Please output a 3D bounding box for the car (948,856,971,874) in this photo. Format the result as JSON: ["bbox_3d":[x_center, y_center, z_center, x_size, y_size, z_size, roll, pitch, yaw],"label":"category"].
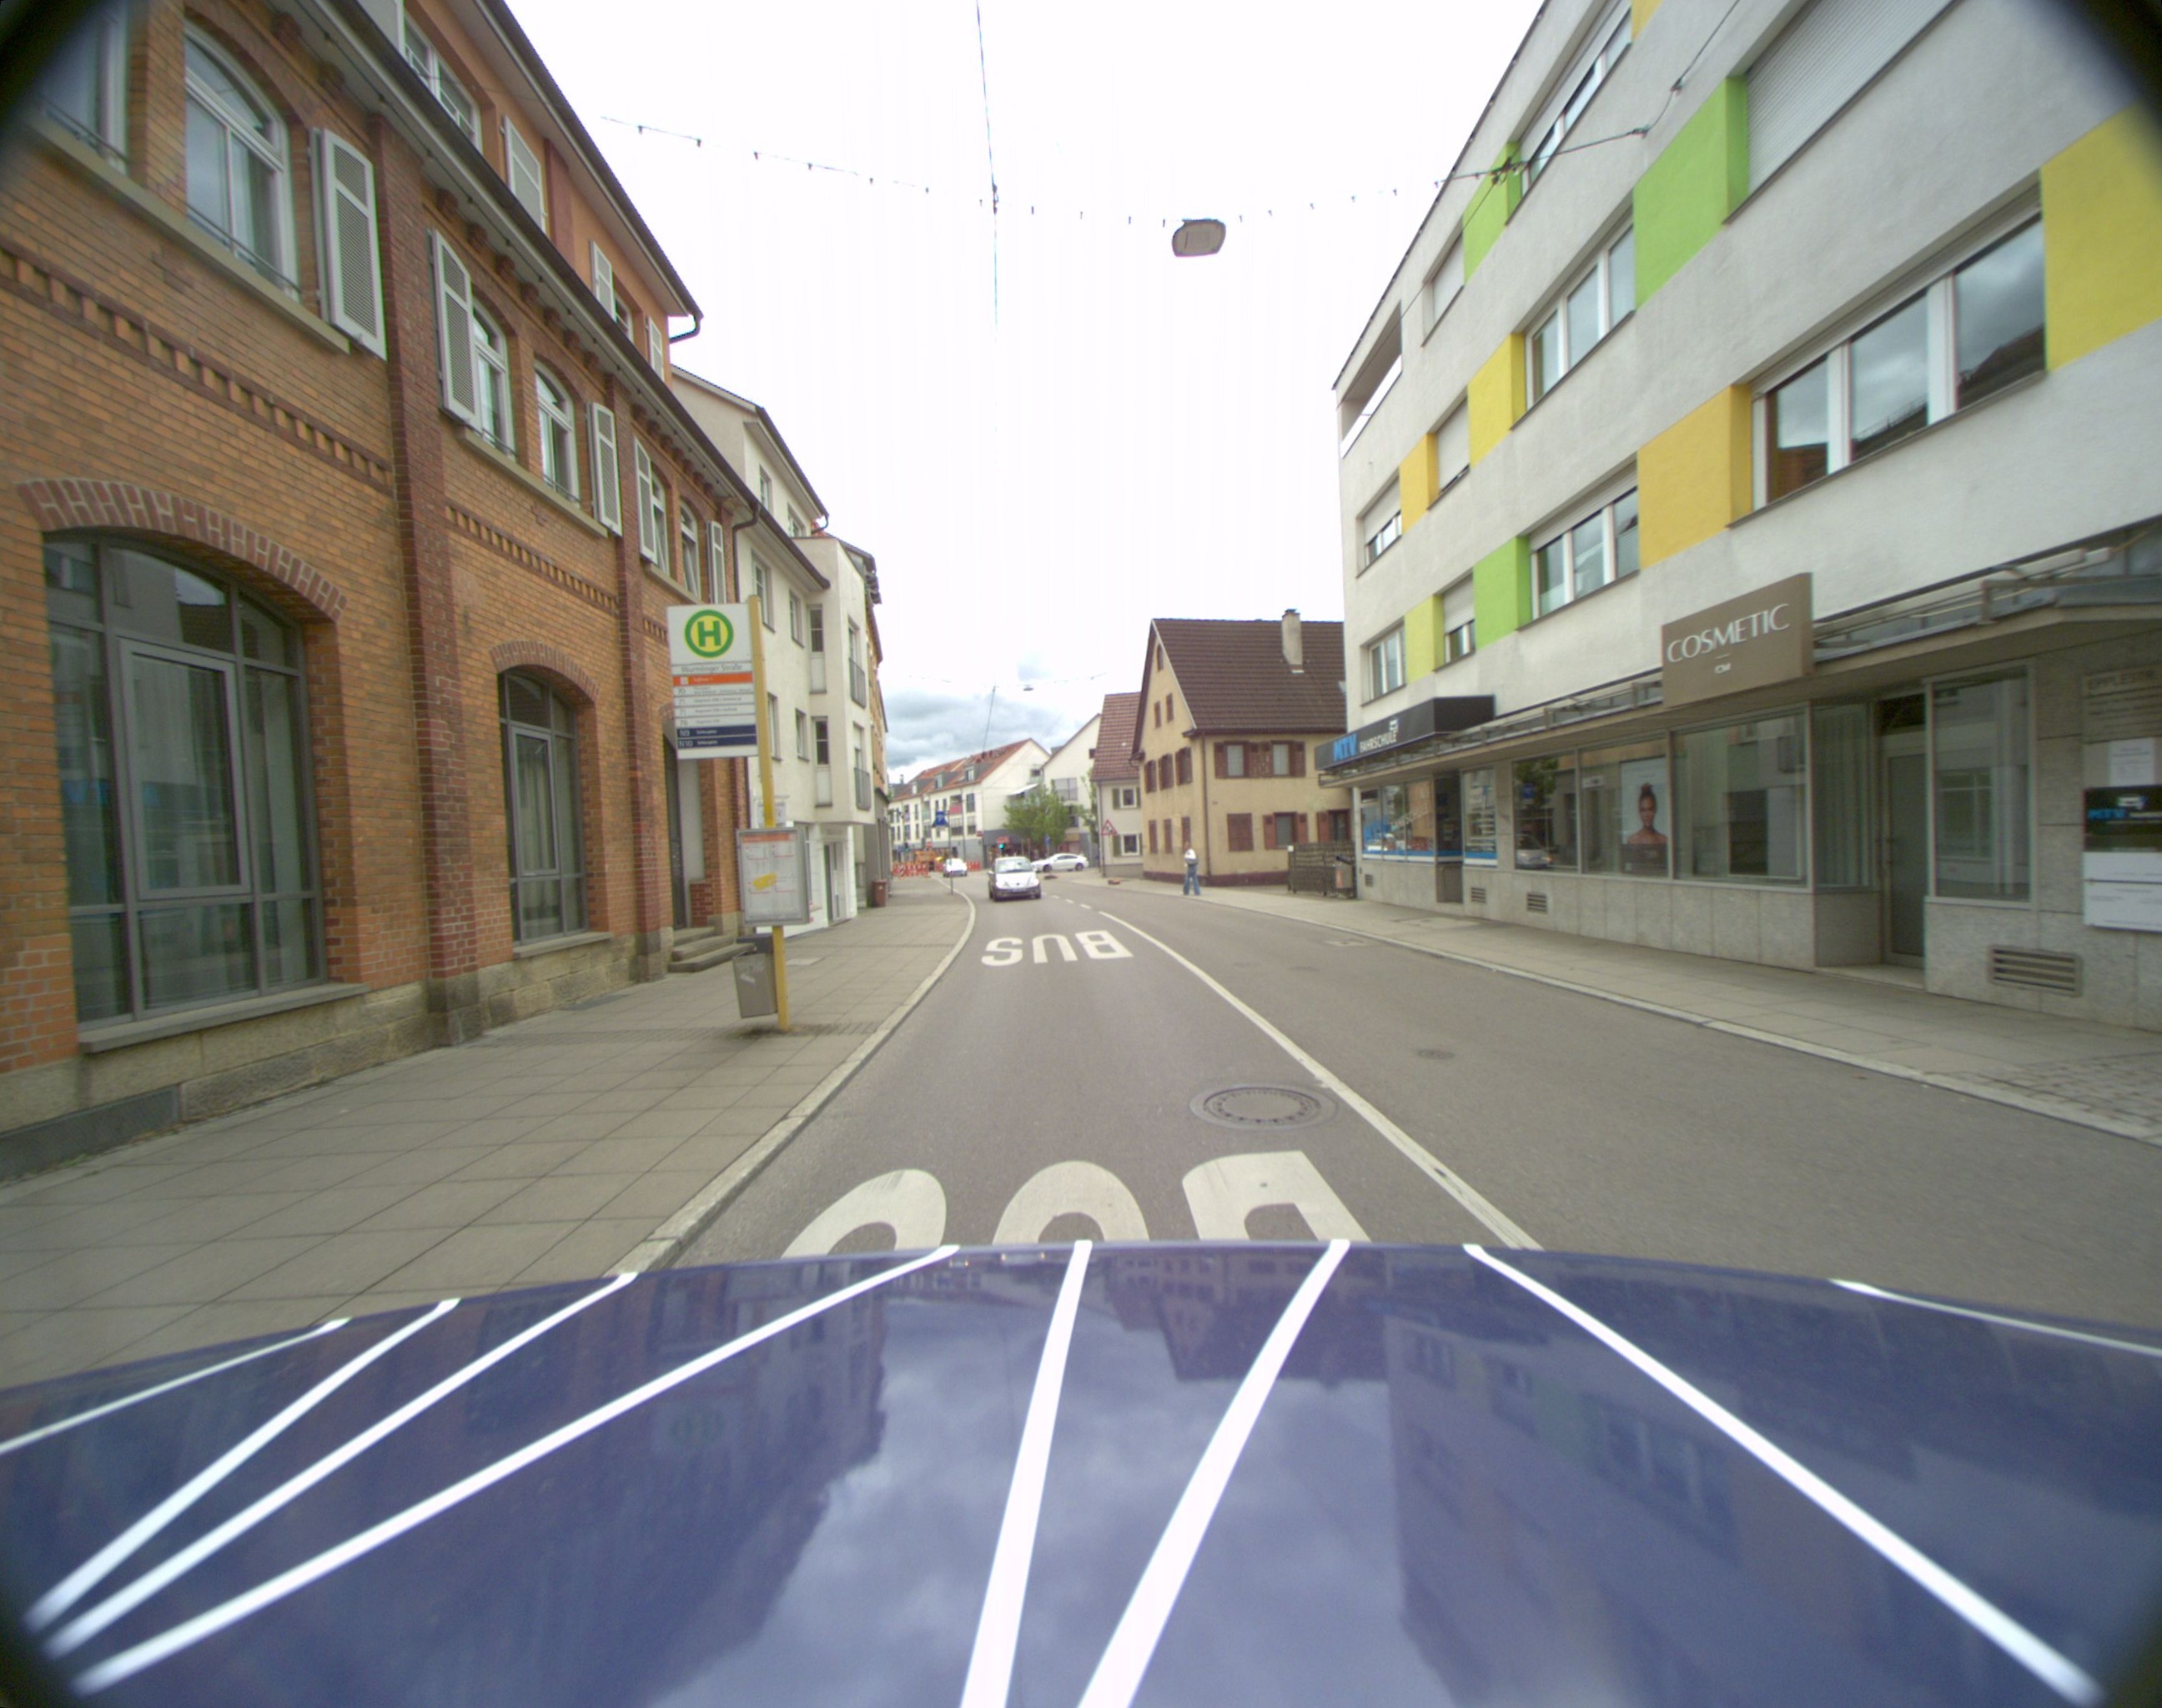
[{"bbox_3d":[-10.057,0.892,62.837,1.756,1.347,3.997,-3,0,-9],"label":"car"}]

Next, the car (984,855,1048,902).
[{"bbox_3d":[-2.557,0.881,29.047,1.896,1.618,3.996,-2,0,-12],"label":"car"}]
